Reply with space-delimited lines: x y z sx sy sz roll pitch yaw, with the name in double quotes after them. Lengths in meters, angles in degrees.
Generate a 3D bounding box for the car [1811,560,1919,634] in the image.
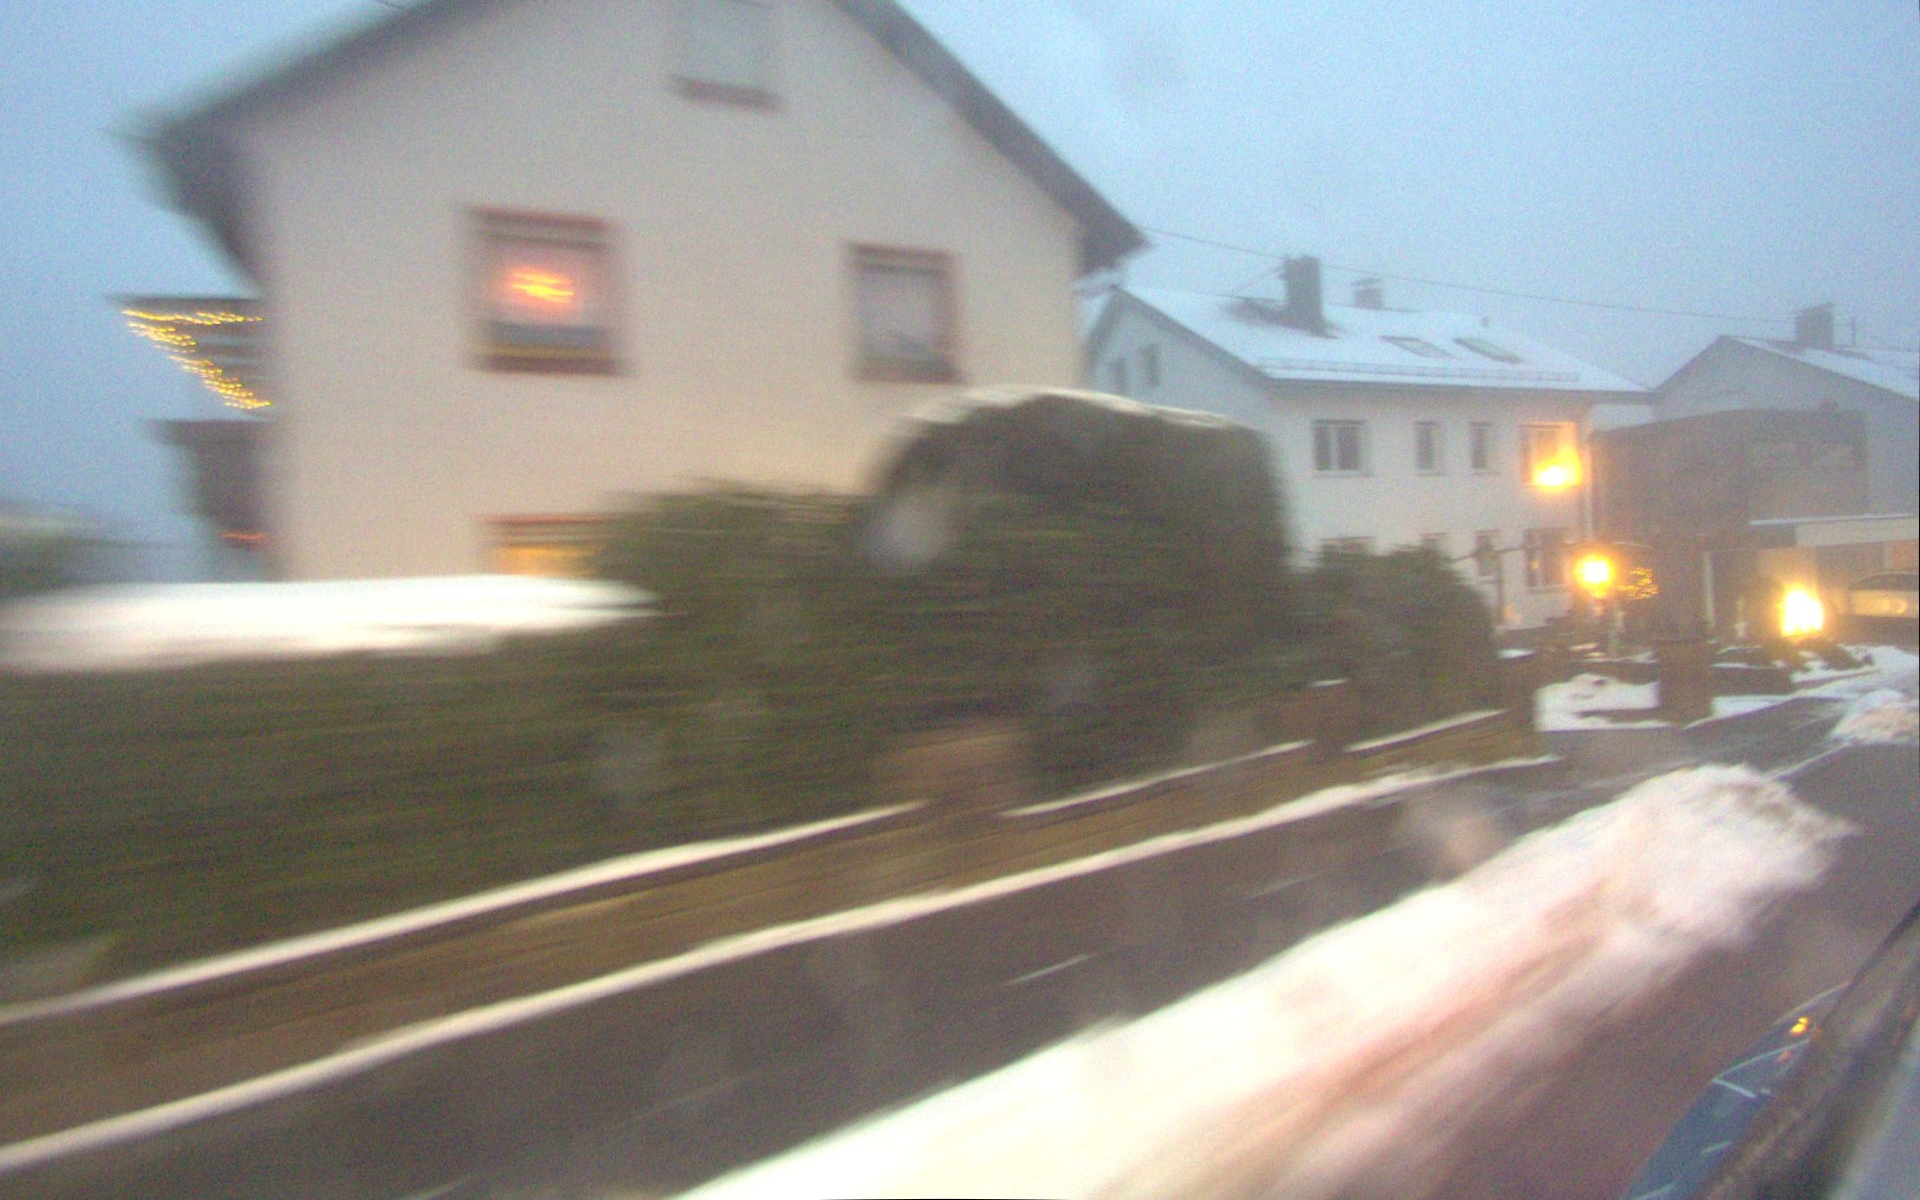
25.300 -0.107 26.502 1.872 1.881 4.228 -2 2 -23 "car"
